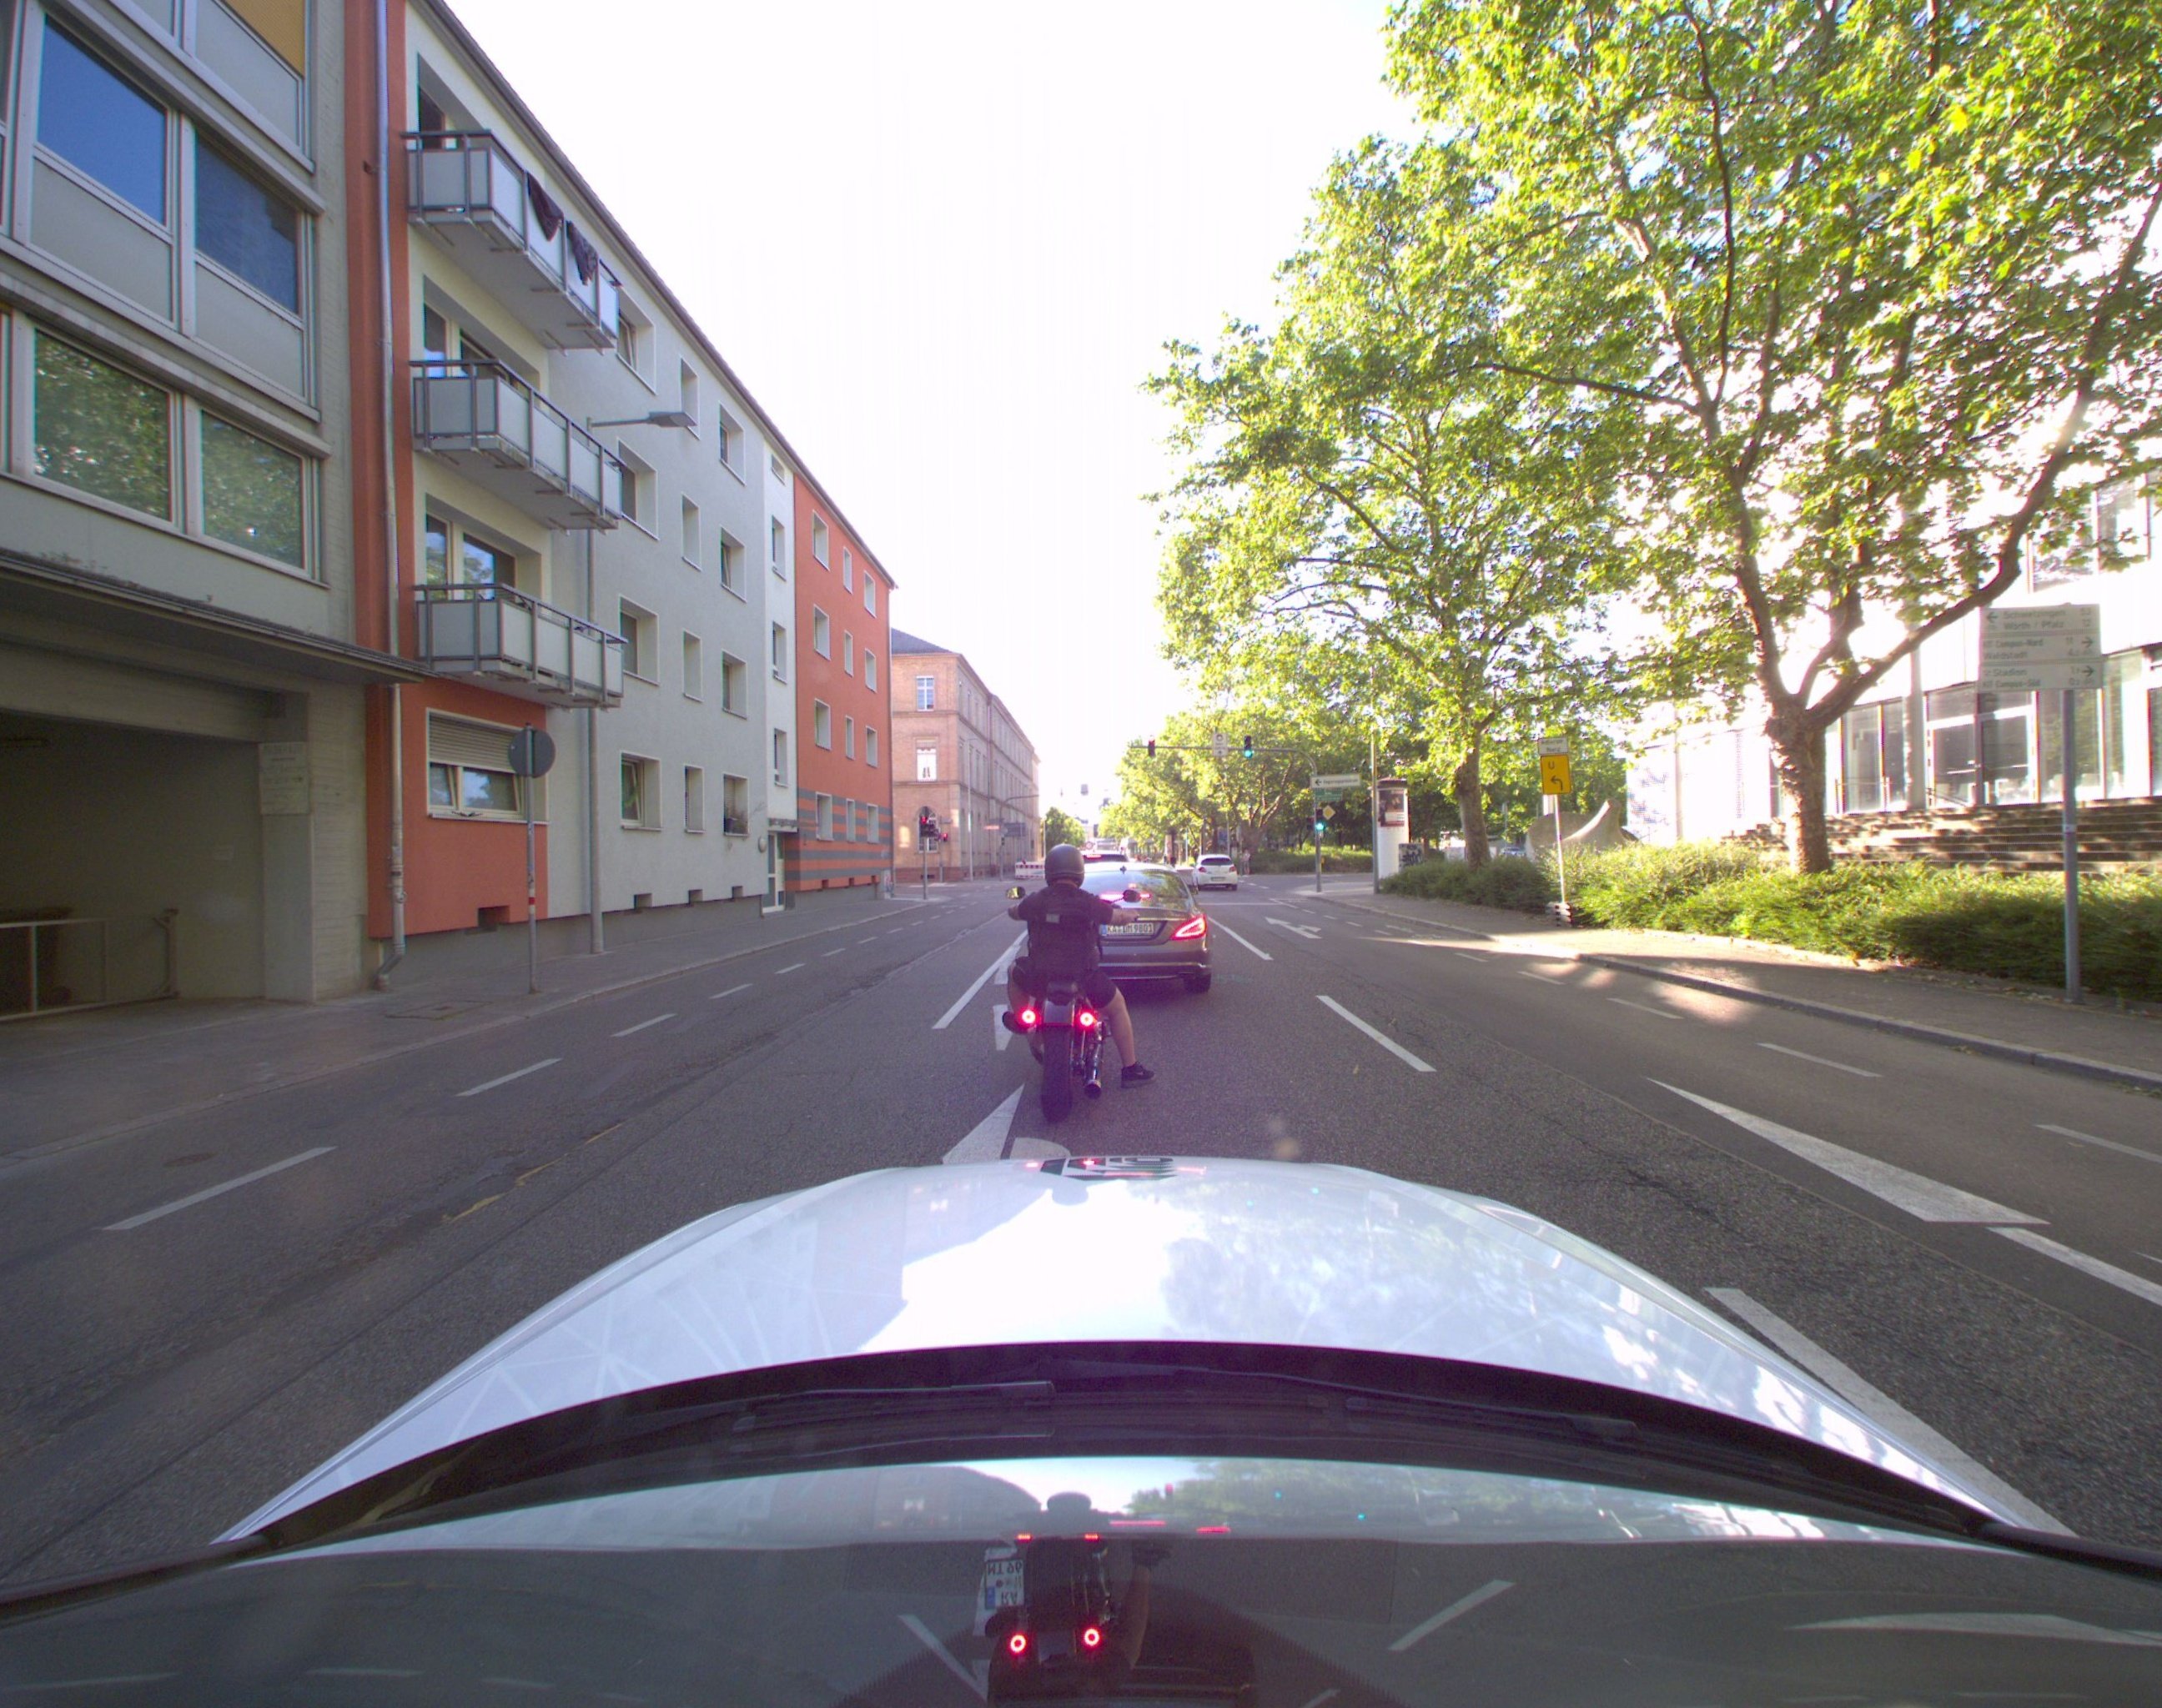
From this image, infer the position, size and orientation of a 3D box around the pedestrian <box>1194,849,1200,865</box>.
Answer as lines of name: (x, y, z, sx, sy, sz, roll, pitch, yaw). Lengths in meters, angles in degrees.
pedestrian: (11.476, 0.333, 80.506, 0.590, 1.578, 0.527, 0, -1, 2)

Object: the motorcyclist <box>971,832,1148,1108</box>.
motorcyclist: (-0.109, 0.682, 5.497, 1.008, 1.602, 1.406, -1, 0, 1)

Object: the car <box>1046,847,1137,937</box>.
car: (0.112, 0.708, 16.929, 1.627, 1.650, 3.845, 0, 0, -4)

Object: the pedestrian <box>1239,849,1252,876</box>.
pedestrian: (10.750, 0.537, 53.093, 0.574, 1.774, 0.619, 1, -1, -33)

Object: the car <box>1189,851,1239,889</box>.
car: (5.524, 0.644, 34.152, 1.672, 1.498, 3.687, 0, 0, 2)

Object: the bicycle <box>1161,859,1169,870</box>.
bicycle: (8.888, 1.098, 86.173, 0.653, 1.111, 2.186, 0, -1, 2)

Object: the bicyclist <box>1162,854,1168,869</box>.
bicyclist: (8.883, 0.794, 86.111, 0.653, 1.530, 0.906, 0, -1, 1)

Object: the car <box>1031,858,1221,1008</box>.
car: (0.494, 0.772, 9.785, 1.821, 1.420, 3.816, -1, 0, 2)

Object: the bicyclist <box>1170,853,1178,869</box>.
bicyclist: (8.686, 0.647, 75.745, 0.653, 1.530, 0.852, 0, -1, 1)

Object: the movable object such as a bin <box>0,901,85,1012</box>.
movable object such as a bin: (-11.224, 1.067, 8.638, 0.487, 1.088, 0.654, -1, 0, 1)

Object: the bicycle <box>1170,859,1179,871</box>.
bicycle: (8.681, 1.042, 75.751, 0.653, 1.070, 1.927, 0, -1, 1)

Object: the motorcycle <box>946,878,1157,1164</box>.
motorcycle: (-0.108, 0.859, 5.334, 1.008, 1.306, 2.673, -1, 0, 2)
